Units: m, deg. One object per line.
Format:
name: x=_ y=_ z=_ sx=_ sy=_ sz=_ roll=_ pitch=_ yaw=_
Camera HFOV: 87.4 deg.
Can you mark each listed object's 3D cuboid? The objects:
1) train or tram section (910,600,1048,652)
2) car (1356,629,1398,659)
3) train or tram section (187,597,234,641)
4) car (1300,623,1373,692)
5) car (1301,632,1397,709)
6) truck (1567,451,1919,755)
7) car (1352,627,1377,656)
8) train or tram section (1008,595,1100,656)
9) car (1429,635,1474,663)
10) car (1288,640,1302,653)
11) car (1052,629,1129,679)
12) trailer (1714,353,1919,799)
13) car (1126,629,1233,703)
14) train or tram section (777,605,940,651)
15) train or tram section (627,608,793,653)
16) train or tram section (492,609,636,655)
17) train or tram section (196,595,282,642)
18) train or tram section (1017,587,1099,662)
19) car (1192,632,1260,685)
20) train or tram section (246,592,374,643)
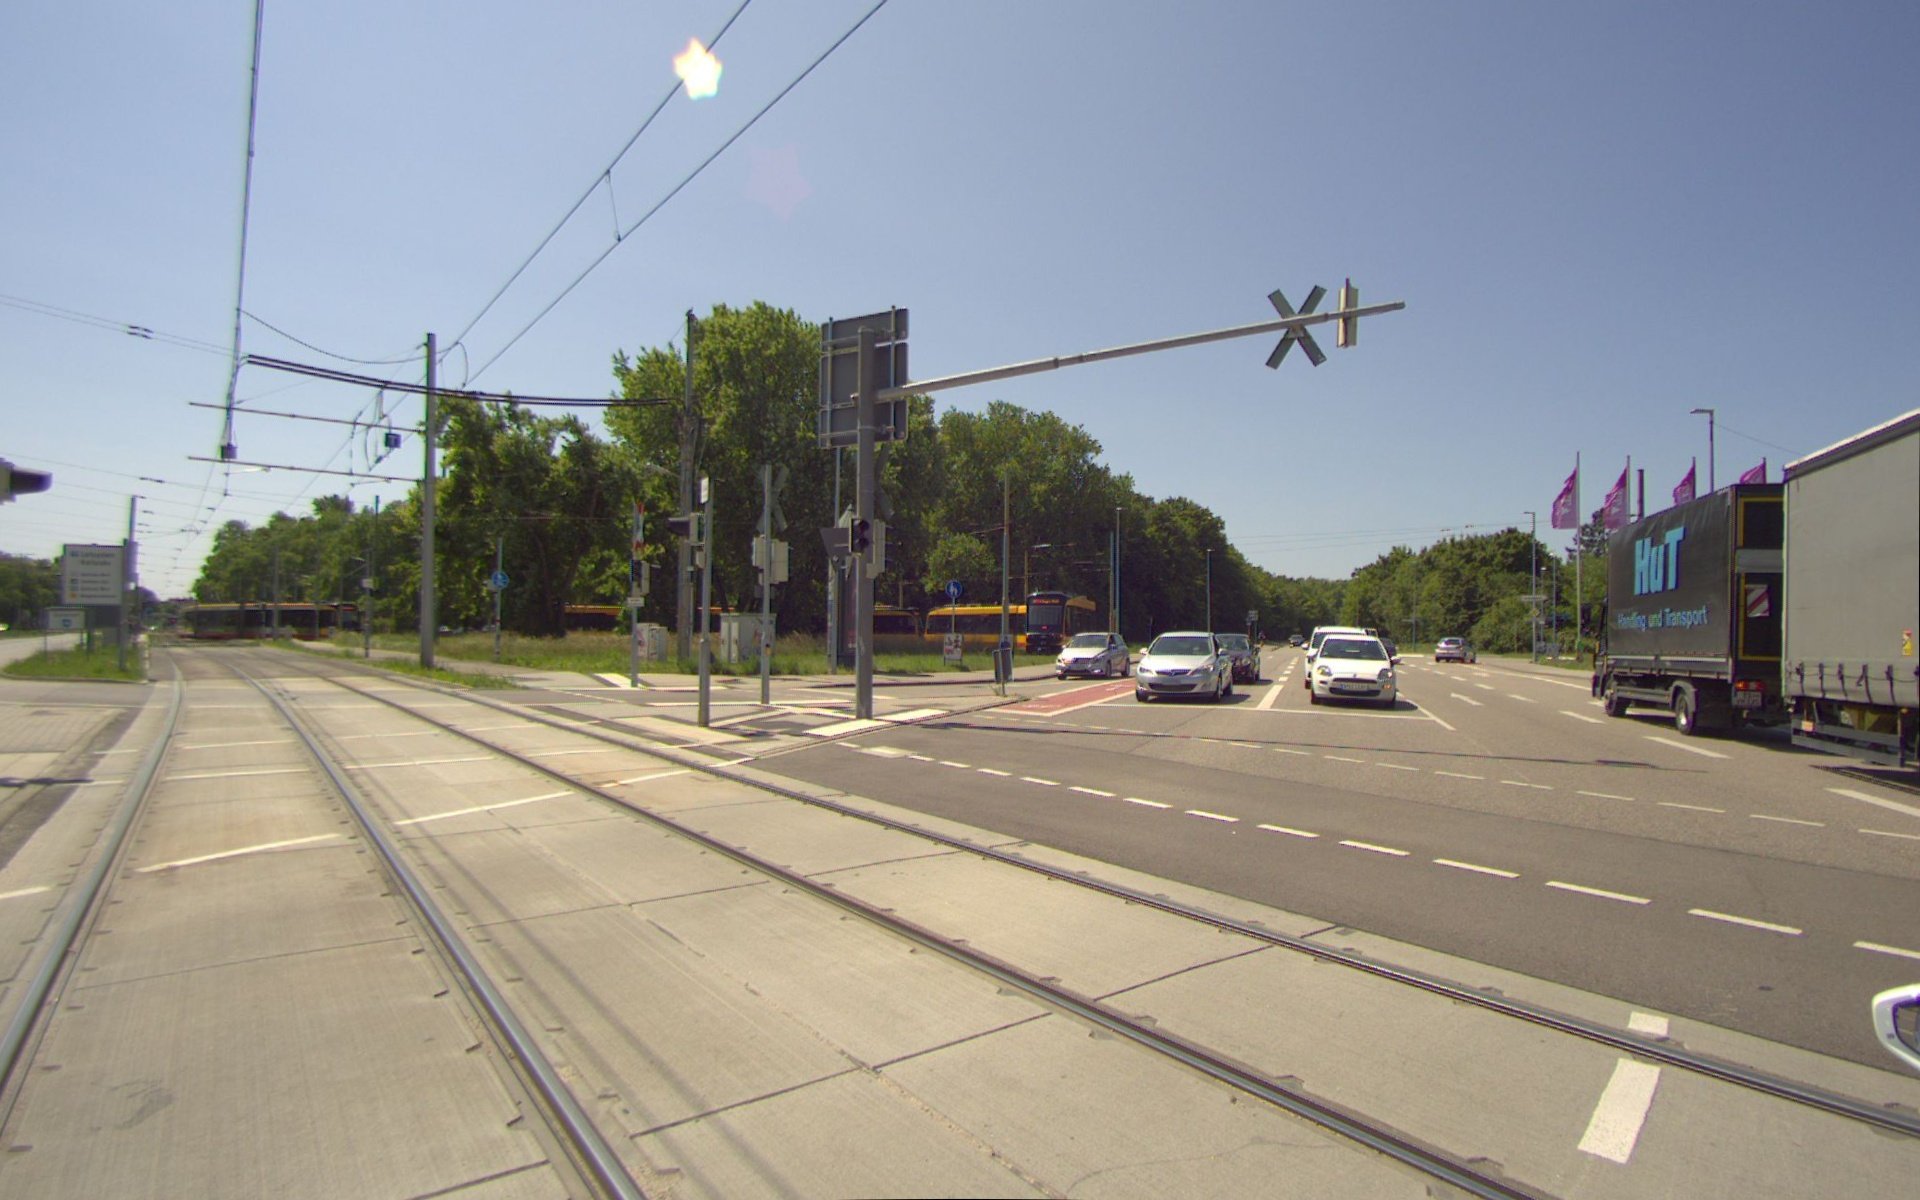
train or tram section: x=1.228 y=2.138 z=80.097 sx=2.999 sy=3.808 sz=13.899 roll=1 pitch=-2 yaw=-37
car: x=23.593 y=2.471 z=56.750 sx=1.994 sy=1.654 sz=3.997 roll=0 pitch=-2 yaw=26
train or tram section: x=-77.975 y=2.043 z=104.386 sx=3.003 sy=4.311 sz=12.598 roll=1 pitch=-2 yaw=-41
car: x=10.693 y=1.563 z=28.702 sx=1.782 sy=1.746 sz=4.831 roll=1 pitch=-1 yaw=19
car: x=8.425 y=1.462 z=22.007 sx=1.738 sy=1.456 sz=3.962 roll=2 pitch=-1 yaw=18
truck: x=13.524 y=0.144 z=17.668 sx=3.026 sy=4.123 sz=7.961 roll=1 pitch=-1 yaw=18
car: x=28.619 y=2.938 z=71.127 sx=1.628 sy=1.932 sz=4.000 roll=0 pitch=-2 yaw=21
train or tram section: x=6.240 y=1.786 z=69.277 sx=2.973 sy=3.808 sz=11.593 roll=0 pitch=-2 yaw=-12
car: x=30.626 y=3.038 z=62.507 sx=1.814 sy=1.654 sz=3.985 roll=-1 pitch=-2 yaw=37
car: x=40.071 y=5.550 z=120.096 sx=1.595 sy=1.475 sz=3.502 roll=-1 pitch=-2 yaw=19
car: x=4.558 y=1.821 z=34.611 sx=1.713 sy=1.566 sz=4.257 roll=-1 pitch=-1 yaw=21
trailer: x=10.661 y=-0.190 z=9.663 sx=3.027 sy=4.123 sz=9.806 roll=0 pitch=-2 yaw=22
car: x=5.014 y=1.399 z=22.481 sx=1.762 sy=1.475 sz=4.413 roll=0 pitch=-2 yaw=20
train or tram section: x=-8.841 y=2.472 z=87.389 sx=13.909 sy=3.808 sz=3.027 roll=-1 pitch=-2 yaw=16
train or tram section: x=-21.940 y=2.679 z=88.818 sx=13.920 sy=3.808 sz=3.025 roll=-1 pitch=-2 yaw=-4
train or tram section: x=-34.251 y=2.741 z=87.381 sx=11.234 sy=3.808 sz=3.022 roll=0 pitch=-2 yaw=-10
train or tram section: x=-69.082 y=1.864 z=96.144 sx=12.545 sy=4.311 sz=3.015 roll=-2 pitch=-2 yaw=37
train or tram section: x=5.893 y=1.446 z=57.919 sx=2.965 sy=3.808 sz=13.002 roll=-1 pitch=-2 yaw=13
car: x=8.113 y=1.720 z=30.416 sx=1.731 sy=1.476 sz=4.287 roll=0 pitch=-2 yaw=19
train or tram section: x=-58.539 y=1.613 z=90.337 sx=12.504 sy=4.311 sz=3.025 roll=-1 pitch=-2 yaw=22
